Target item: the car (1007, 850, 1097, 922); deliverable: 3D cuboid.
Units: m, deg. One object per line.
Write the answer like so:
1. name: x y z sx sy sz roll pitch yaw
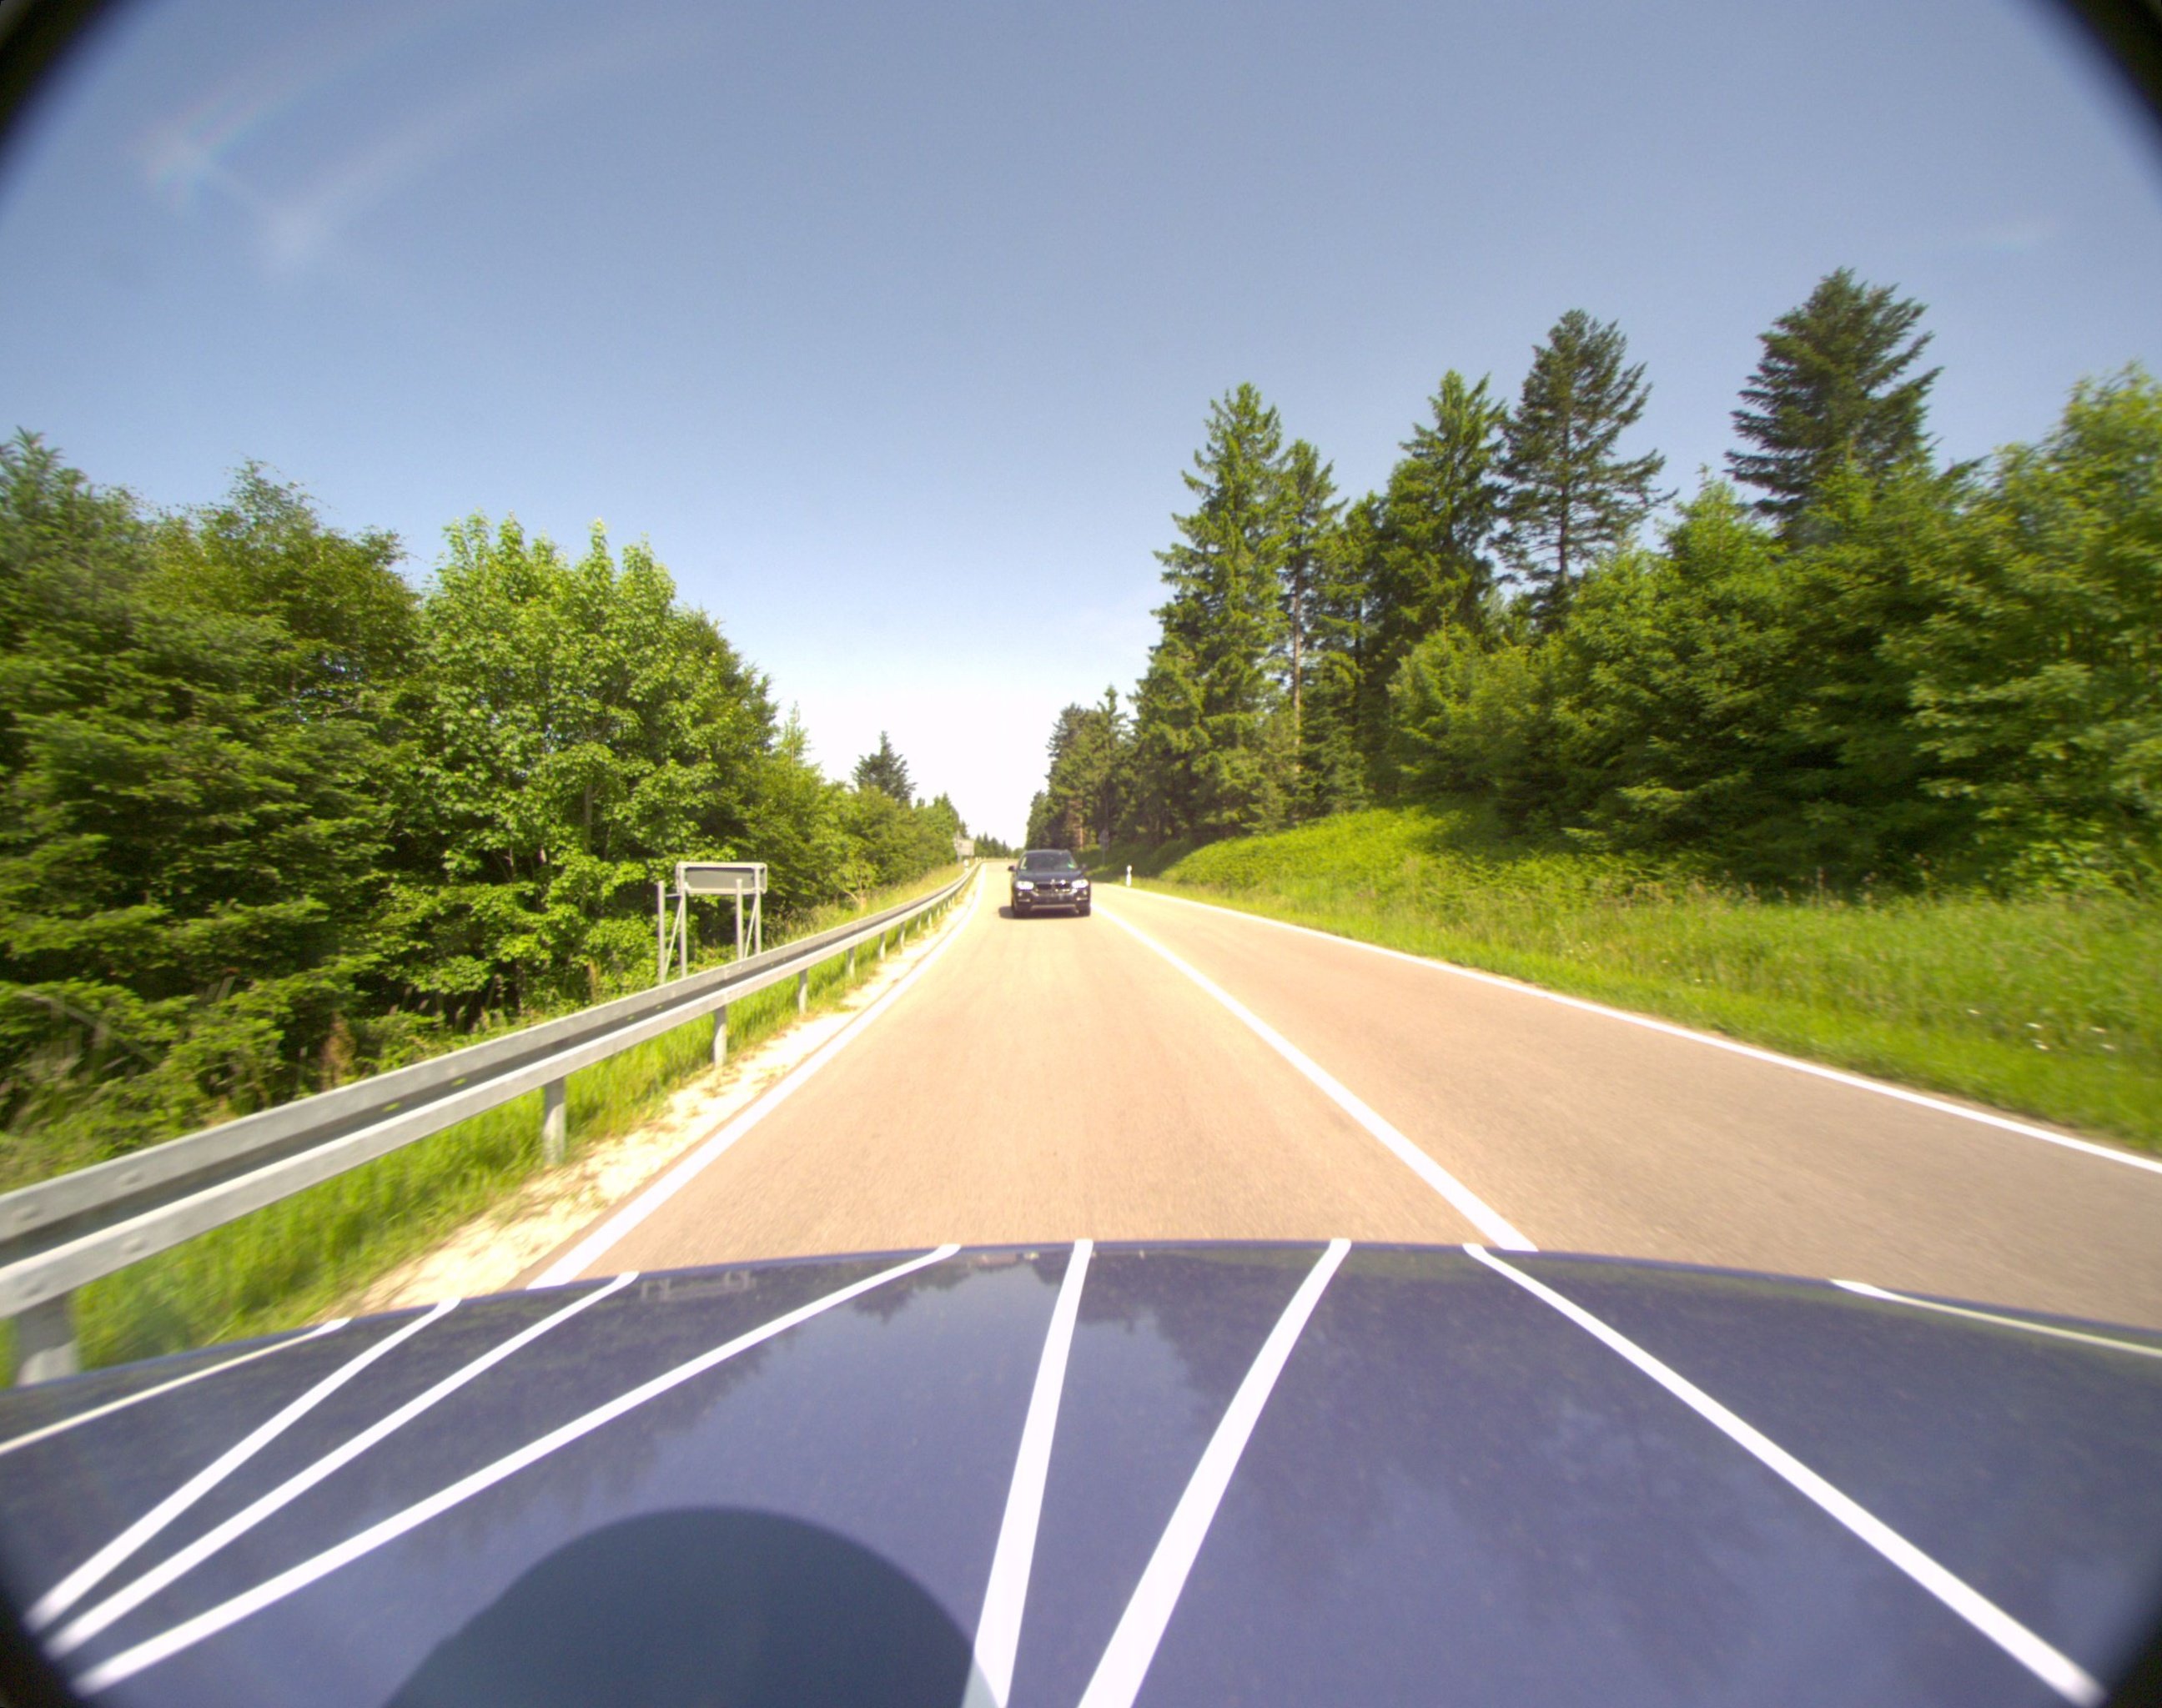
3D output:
1. car: -0.972 0.772 21.121 2.000 1.676 5.932 -1 0 -7
